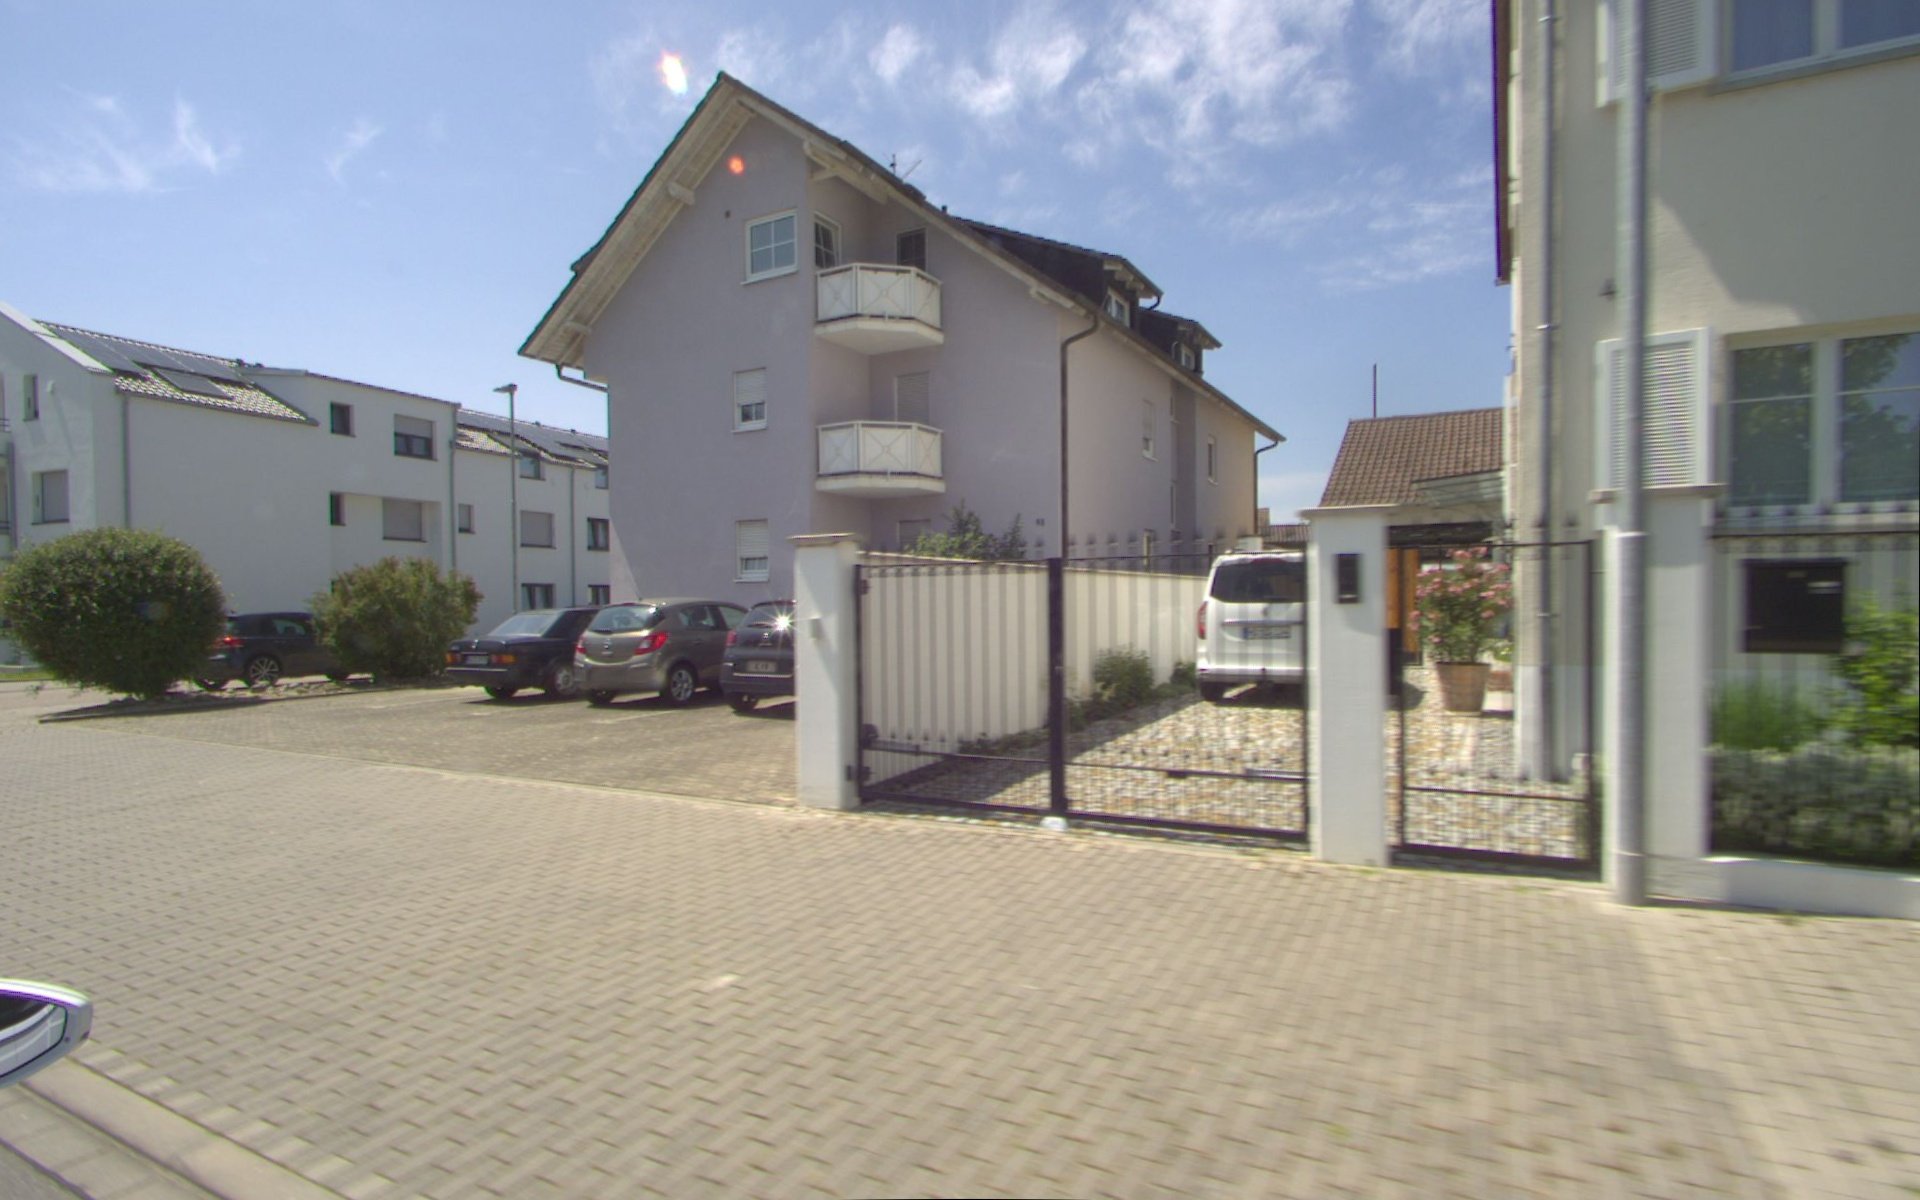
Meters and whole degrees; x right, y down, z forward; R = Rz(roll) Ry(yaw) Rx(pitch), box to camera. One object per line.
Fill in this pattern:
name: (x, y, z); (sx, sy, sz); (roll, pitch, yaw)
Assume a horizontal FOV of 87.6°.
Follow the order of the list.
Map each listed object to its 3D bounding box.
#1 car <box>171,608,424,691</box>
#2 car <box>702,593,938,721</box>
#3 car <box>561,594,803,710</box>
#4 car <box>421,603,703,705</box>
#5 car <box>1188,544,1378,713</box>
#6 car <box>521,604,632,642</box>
car: (-13.382, 0.920, 20.487); (1.729, 1.487, 3.987); (0, 0, 29)
car: (-1.779, 0.675, 13.776); (1.636, 1.516, 3.501); (0, 0, 23)
car: (-4.017, 0.688, 14.997); (1.637, 1.514, 3.443); (0, 0, 26)
car: (-6.172, 0.762, 16.065); (1.637, 1.392, 4.200); (0, 0, 26)
car: (4.230, 0.313, 12.814); (1.744, 1.836, 3.383); (0, 0, 28)
car: (-14.985, 0.866, 39.120); (3.940, 1.431, 1.751); (0, 0, 23)
